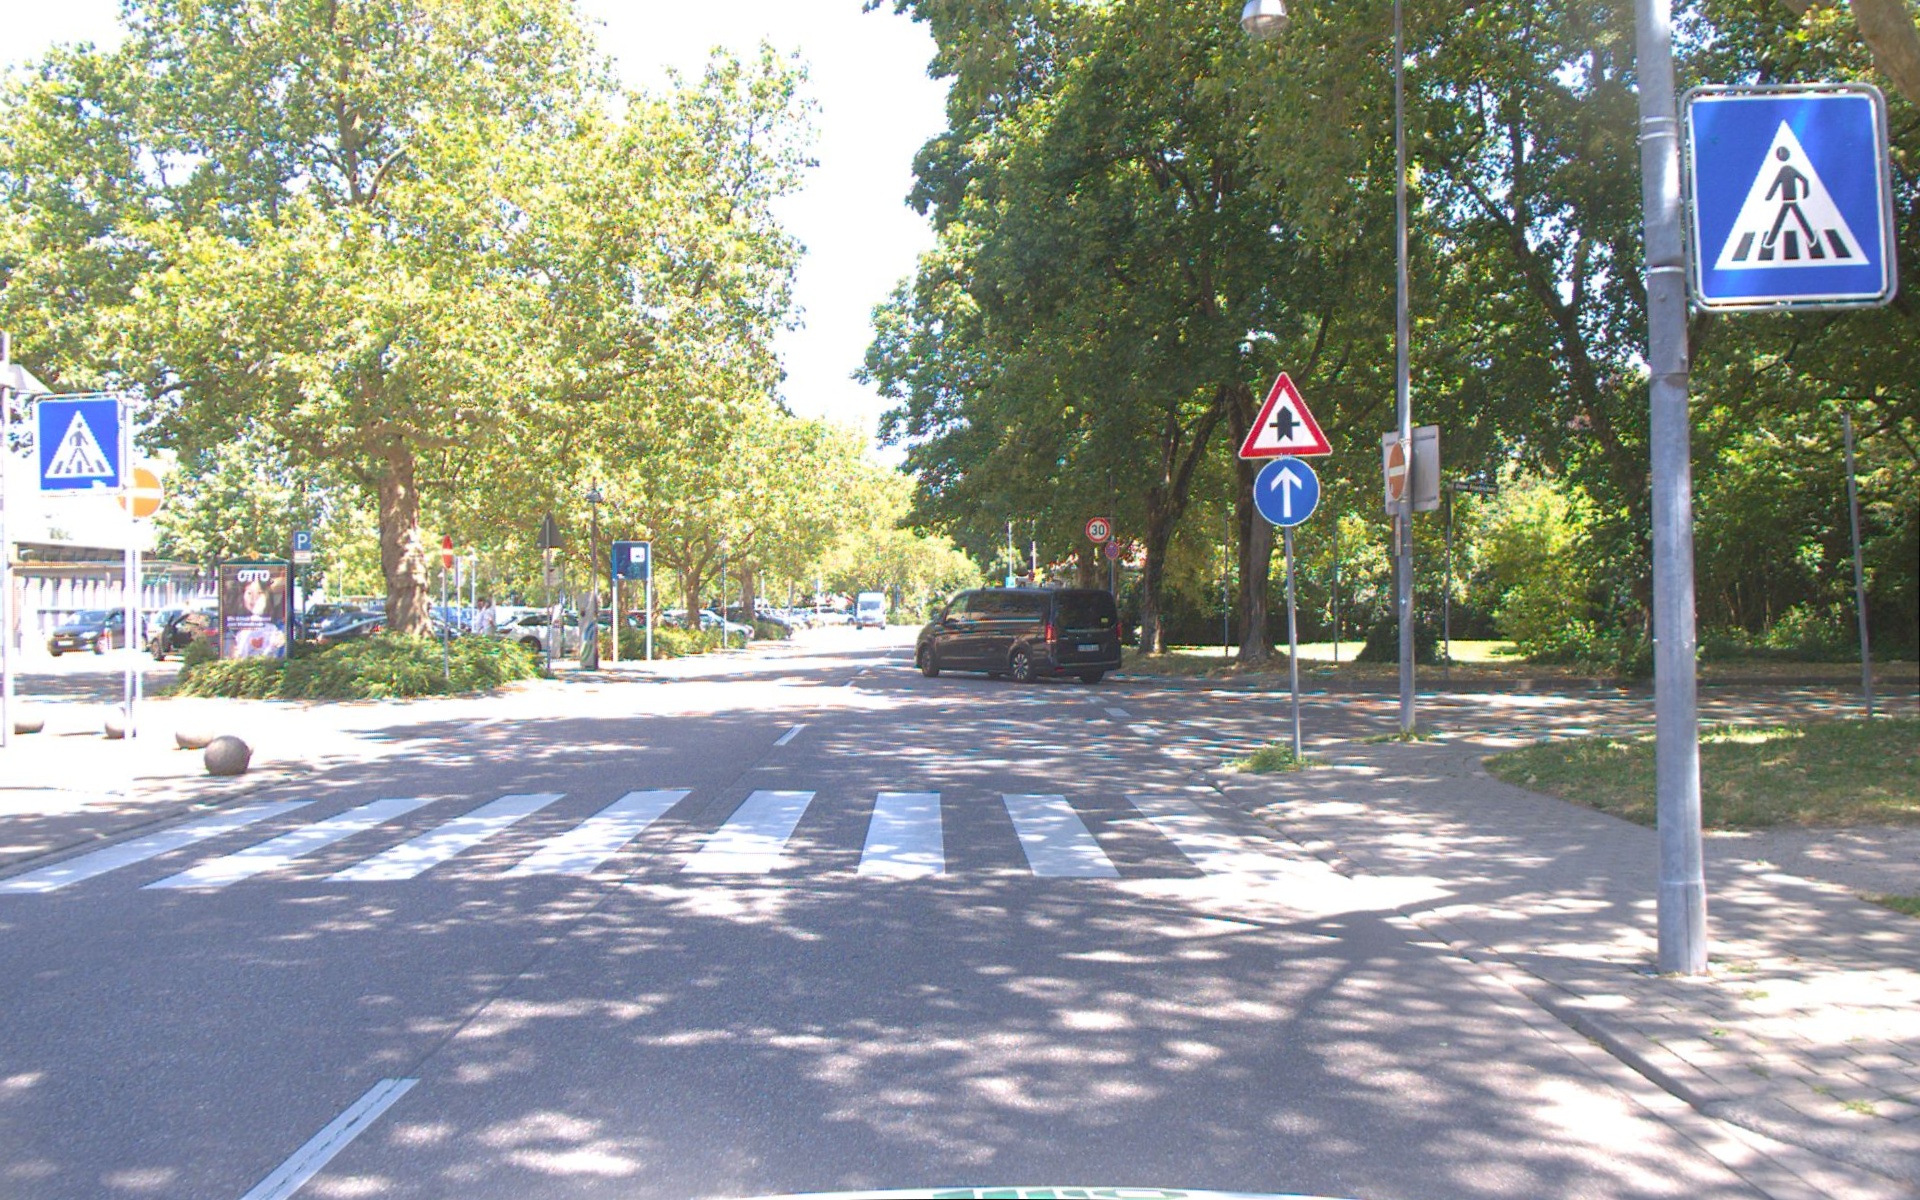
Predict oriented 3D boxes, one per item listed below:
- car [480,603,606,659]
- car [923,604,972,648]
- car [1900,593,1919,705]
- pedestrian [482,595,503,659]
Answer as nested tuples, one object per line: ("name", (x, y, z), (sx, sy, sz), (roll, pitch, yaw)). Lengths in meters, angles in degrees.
("car", (-13.857, 1.024, 54.863), (3.927, 1.813, 1.989), (0, -2, -19))
("car", (-0.585, 1.128, 72.737), (2.082, 1.881, 4.047), (0, -1, -1))
("car", (14.778, 0.627, 21.457), (4.019, 1.492, 2.001), (-1, 0, 2))
("pedestrian", (-15.055, 0.875, 53.247), (0.614, 2.049, 0.568), (0, -2, -15))
